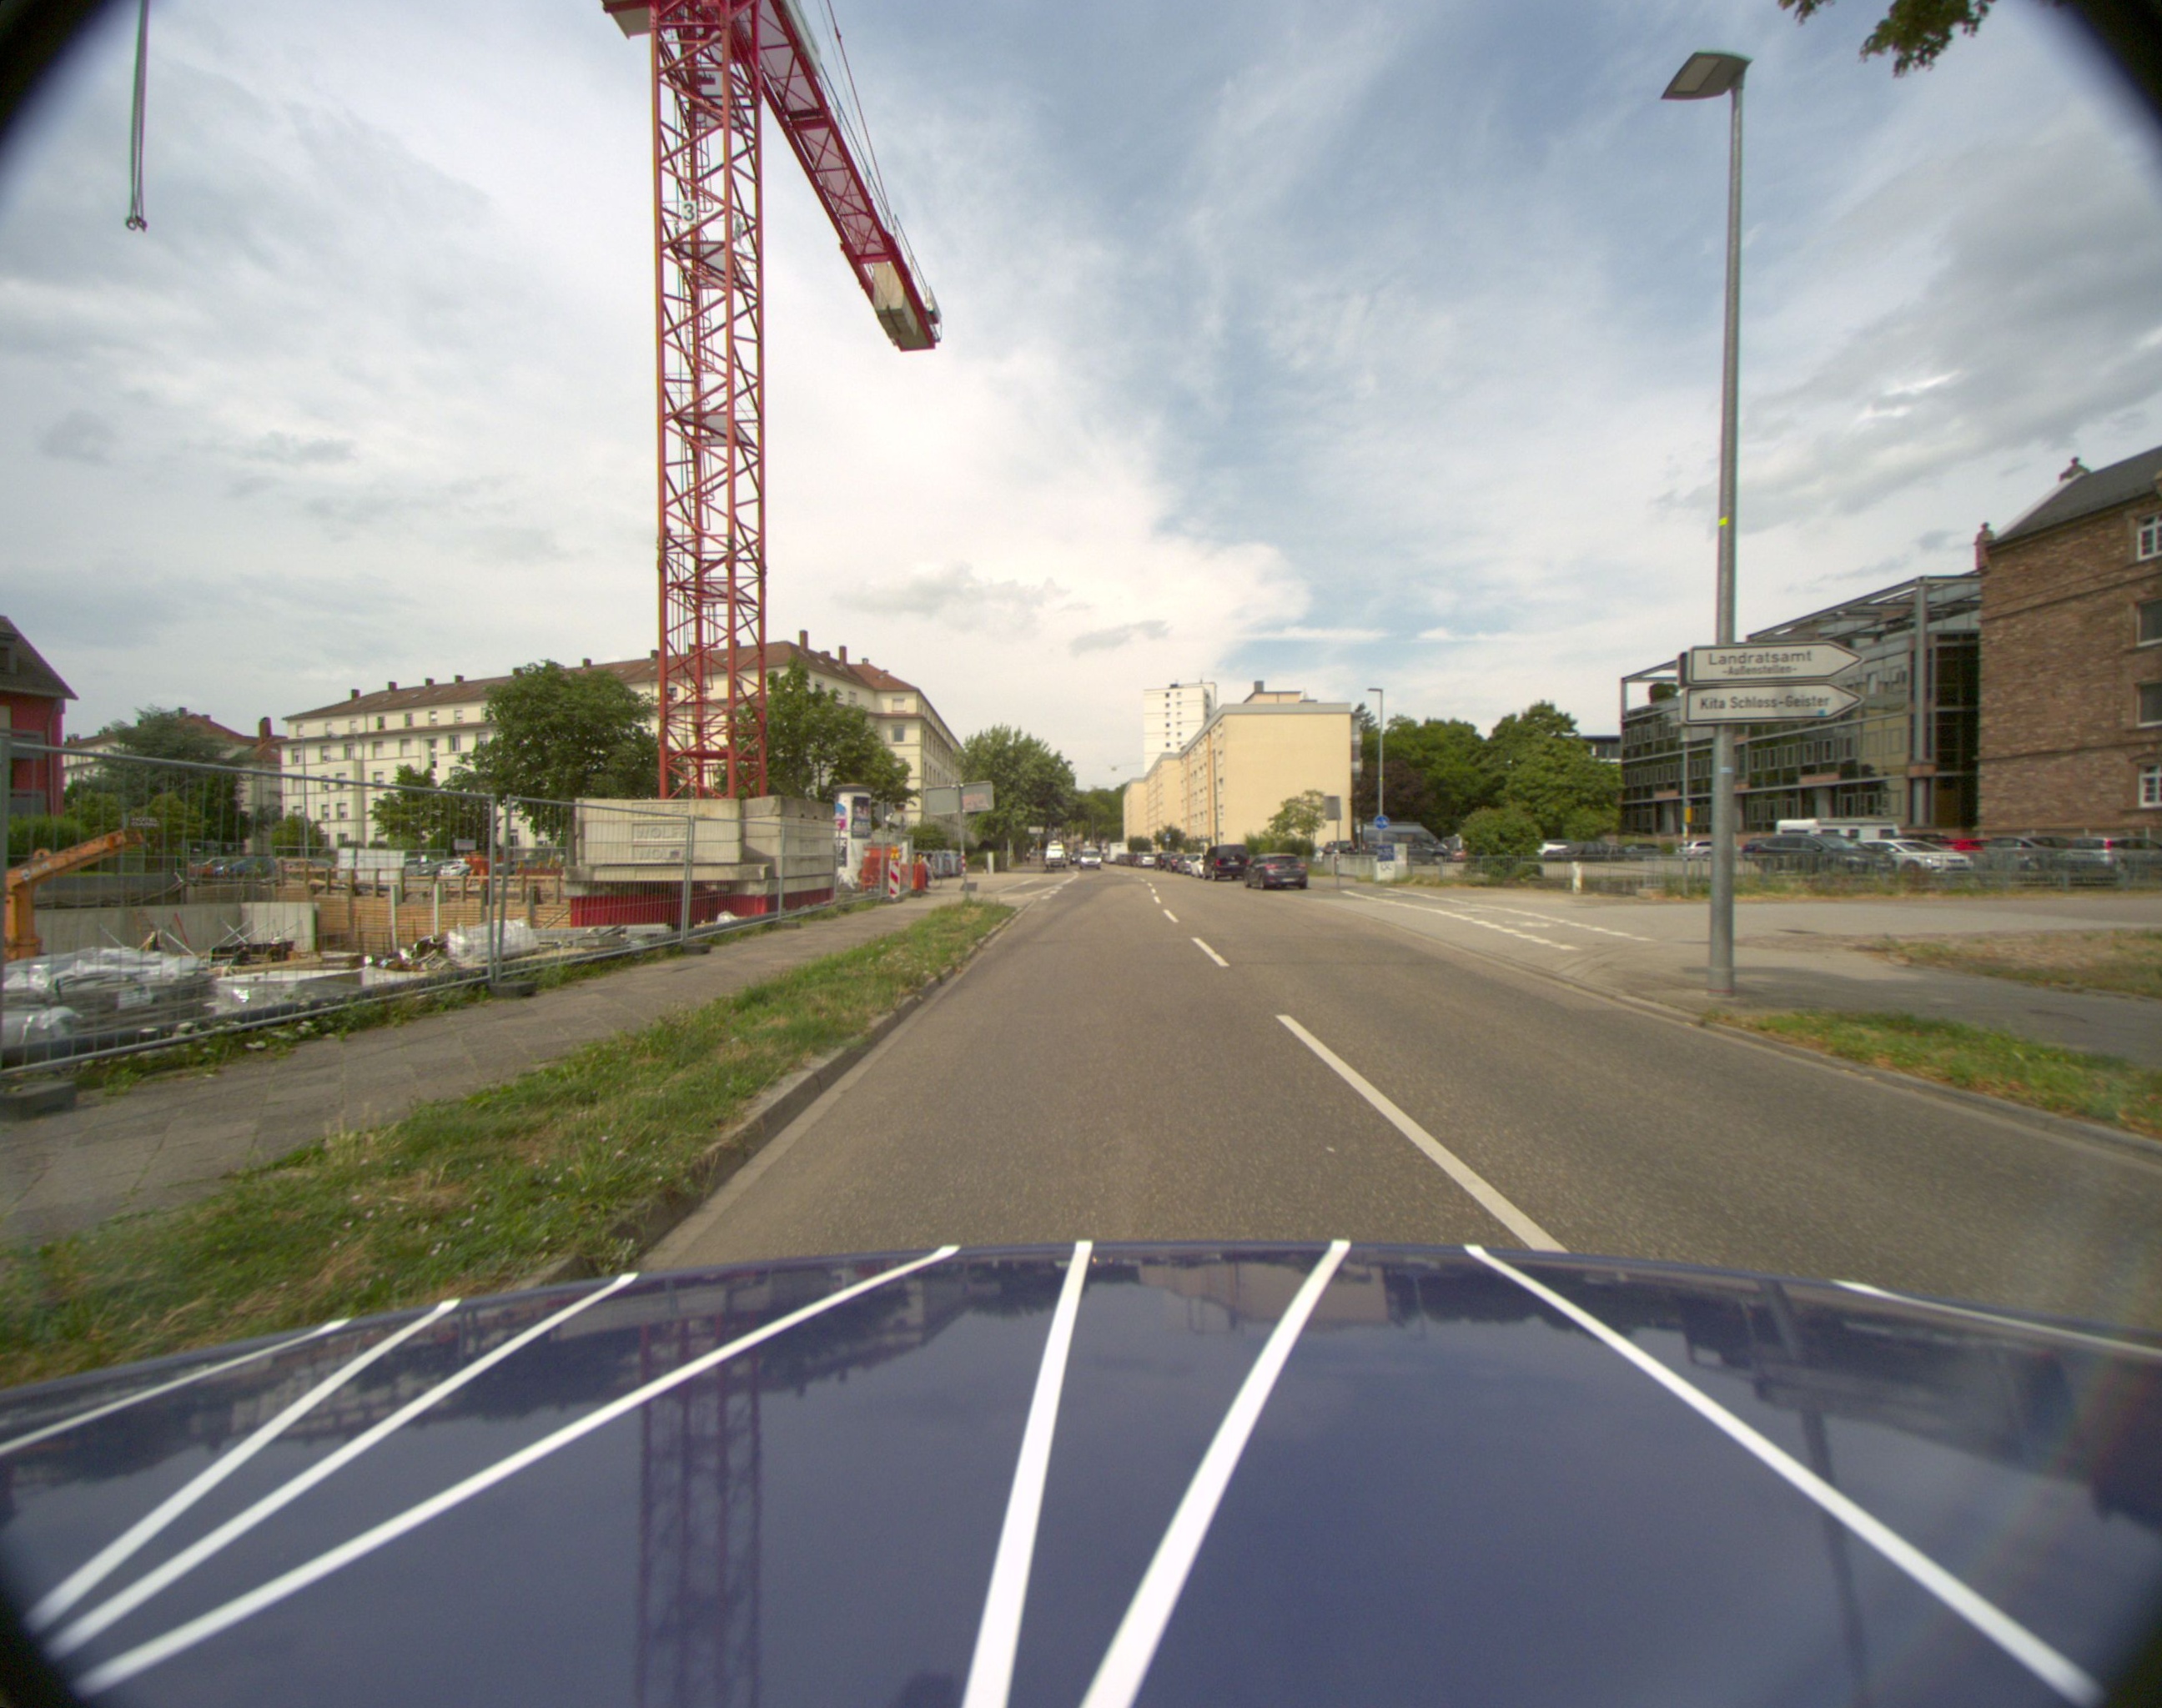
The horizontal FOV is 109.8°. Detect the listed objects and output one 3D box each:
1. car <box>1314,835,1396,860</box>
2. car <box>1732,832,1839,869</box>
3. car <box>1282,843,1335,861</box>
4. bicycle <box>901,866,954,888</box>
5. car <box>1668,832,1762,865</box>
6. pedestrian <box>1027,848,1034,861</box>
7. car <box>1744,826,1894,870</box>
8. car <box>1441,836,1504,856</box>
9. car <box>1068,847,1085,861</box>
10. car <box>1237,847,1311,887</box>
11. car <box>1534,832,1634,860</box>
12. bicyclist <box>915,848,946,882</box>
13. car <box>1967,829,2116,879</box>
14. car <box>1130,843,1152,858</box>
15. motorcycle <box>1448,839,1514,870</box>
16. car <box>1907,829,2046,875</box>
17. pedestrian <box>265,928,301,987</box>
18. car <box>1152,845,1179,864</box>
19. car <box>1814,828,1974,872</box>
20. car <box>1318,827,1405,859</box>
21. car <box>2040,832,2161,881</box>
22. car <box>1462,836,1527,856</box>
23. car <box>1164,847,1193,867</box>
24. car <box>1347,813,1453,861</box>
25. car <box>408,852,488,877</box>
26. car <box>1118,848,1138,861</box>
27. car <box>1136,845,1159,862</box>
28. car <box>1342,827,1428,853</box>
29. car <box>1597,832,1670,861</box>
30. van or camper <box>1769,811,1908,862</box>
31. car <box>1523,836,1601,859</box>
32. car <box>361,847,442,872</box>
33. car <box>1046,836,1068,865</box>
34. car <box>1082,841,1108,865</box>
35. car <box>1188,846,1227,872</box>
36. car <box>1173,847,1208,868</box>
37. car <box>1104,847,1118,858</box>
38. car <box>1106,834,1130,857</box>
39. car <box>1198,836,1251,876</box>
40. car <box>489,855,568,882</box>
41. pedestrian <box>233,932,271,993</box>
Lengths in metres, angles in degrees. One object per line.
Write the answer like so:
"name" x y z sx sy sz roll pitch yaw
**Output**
"car" 19.334 -0.470 53.711 5.097 1.663 2.001 0 0 3
"car" 43.222 -0.224 46.694 4.371 2.124 2.205 1 1 5
"car" 18.989 -0.181 63.514 3.995 1.474 2.000 -1 1 6
"bicycle" -6.718 1.018 33.251 2.472 0.927 0.716 -1 0 33
"car" 42.955 -0.390 51.562 4.371 2.124 2.205 1 1 5
"pedestrian" -7.022 0.076 105.652 0.808 1.794 0.763 1 1 -2
"car" 29.946 -0.271 31.035 1.969 1.647 4.234 -1 1 0
"car" 31.332 -0.652 60.856 3.997 1.474 1.982 -1 1 0
"car" -0.555 -0.055 93.466 1.999 1.656 3.998 1 1 -2
"car" 7.935 0.479 31.612 1.827 1.464 4.296 -3 0 -1
"car" 31.705 -0.520 47.994 4.703 1.654 2.330 1 1 2
"bicyclist" -6.558 0.483 33.147 1.078 1.404 0.716 -3 -1 33
"car" 43.151 -0.007 34.206 4.372 2.124 1.726 1 1 1
"car" 6.366 -0.395 81.021 1.722 1.615 3.837 -1 1 -4
"motorcycle" 15.279 0.020 29.047 2.095 1.136 0.725 1 1 5
"car" 43.073 -0.094 36.621 4.372 2.124 1.804 1 1 2
"pedestrian" -25.601 3.304 24.379 0.842 1.712 0.722 2 2 38
"car" 7.157 0.010 64.486 1.626 1.566 3.998 -1 1 -4
"car" 33.016 -0.210 31.051 1.969 1.647 4.234 -1 1 0
"car" 18.804 -0.728 51.146 5.097 2.137 2.229 0 0 3
"car" 43.106 0.116 31.356 4.516 1.926 1.876 1 1 2
"car" 31.557 -0.599 58.057 3.997 1.474 1.857 -1 1 0
"car" 7.511 0.195 58.908 1.691 1.462 4.048 -1 1 0
"car" 19.121 -1.013 45.692 5.323 2.537 2.354 -3 1 2
"car" -44.890 0.721 53.998 1.796 1.580 3.923 -2 1 21
"car" 5.661 0.022 92.264 1.722 1.498 4.623 0 1 -5
"car" 6.554 -0.032 75.262 1.791 1.554 4.550 -3 0 -1
"car" 19.302 -0.878 48.348 4.707 1.608 2.001 0 0 2
"car" 42.907 -0.575 59.069 4.228 2.124 1.971 1 1 -1
"van or camper" 41.768 -0.942 41.994 5.061 2.687 2.581 0 1 -1
"car" 31.959 -0.421 50.525 4.166 1.474 1.616 -1 1 0
"car" -49.614 0.392 55.567 1.796 1.580 3.923 -2 1 21
"car" -2.263 -0.345 71.246 1.900 2.587 4.903 -3 1 -2
"car" 1.217 -0.098 66.071 1.999 2.002 3.998 1 1 -2
"car" 7.830 0.302 47.374 1.658 1.520 3.764 -2 0 -2
"car" 7.624 0.223 53.084 1.692 1.449 4.262 -1 0 -2
"car" 4.548 -0.271 116.750 1.853 1.623 4.216 1 1 -2
"car" 5.086 -1.143 104.700 2.622 3.040 7.112 1 0 -2
"car" 7.848 0.104 41.947 1.953 1.992 4.843 -2 0 0
"car" -37.817 0.939 52.142 1.796 1.580 3.923 -2 1 21
"pedestrian" -25.495 3.323 23.364 0.842 1.712 0.722 2 2 38
